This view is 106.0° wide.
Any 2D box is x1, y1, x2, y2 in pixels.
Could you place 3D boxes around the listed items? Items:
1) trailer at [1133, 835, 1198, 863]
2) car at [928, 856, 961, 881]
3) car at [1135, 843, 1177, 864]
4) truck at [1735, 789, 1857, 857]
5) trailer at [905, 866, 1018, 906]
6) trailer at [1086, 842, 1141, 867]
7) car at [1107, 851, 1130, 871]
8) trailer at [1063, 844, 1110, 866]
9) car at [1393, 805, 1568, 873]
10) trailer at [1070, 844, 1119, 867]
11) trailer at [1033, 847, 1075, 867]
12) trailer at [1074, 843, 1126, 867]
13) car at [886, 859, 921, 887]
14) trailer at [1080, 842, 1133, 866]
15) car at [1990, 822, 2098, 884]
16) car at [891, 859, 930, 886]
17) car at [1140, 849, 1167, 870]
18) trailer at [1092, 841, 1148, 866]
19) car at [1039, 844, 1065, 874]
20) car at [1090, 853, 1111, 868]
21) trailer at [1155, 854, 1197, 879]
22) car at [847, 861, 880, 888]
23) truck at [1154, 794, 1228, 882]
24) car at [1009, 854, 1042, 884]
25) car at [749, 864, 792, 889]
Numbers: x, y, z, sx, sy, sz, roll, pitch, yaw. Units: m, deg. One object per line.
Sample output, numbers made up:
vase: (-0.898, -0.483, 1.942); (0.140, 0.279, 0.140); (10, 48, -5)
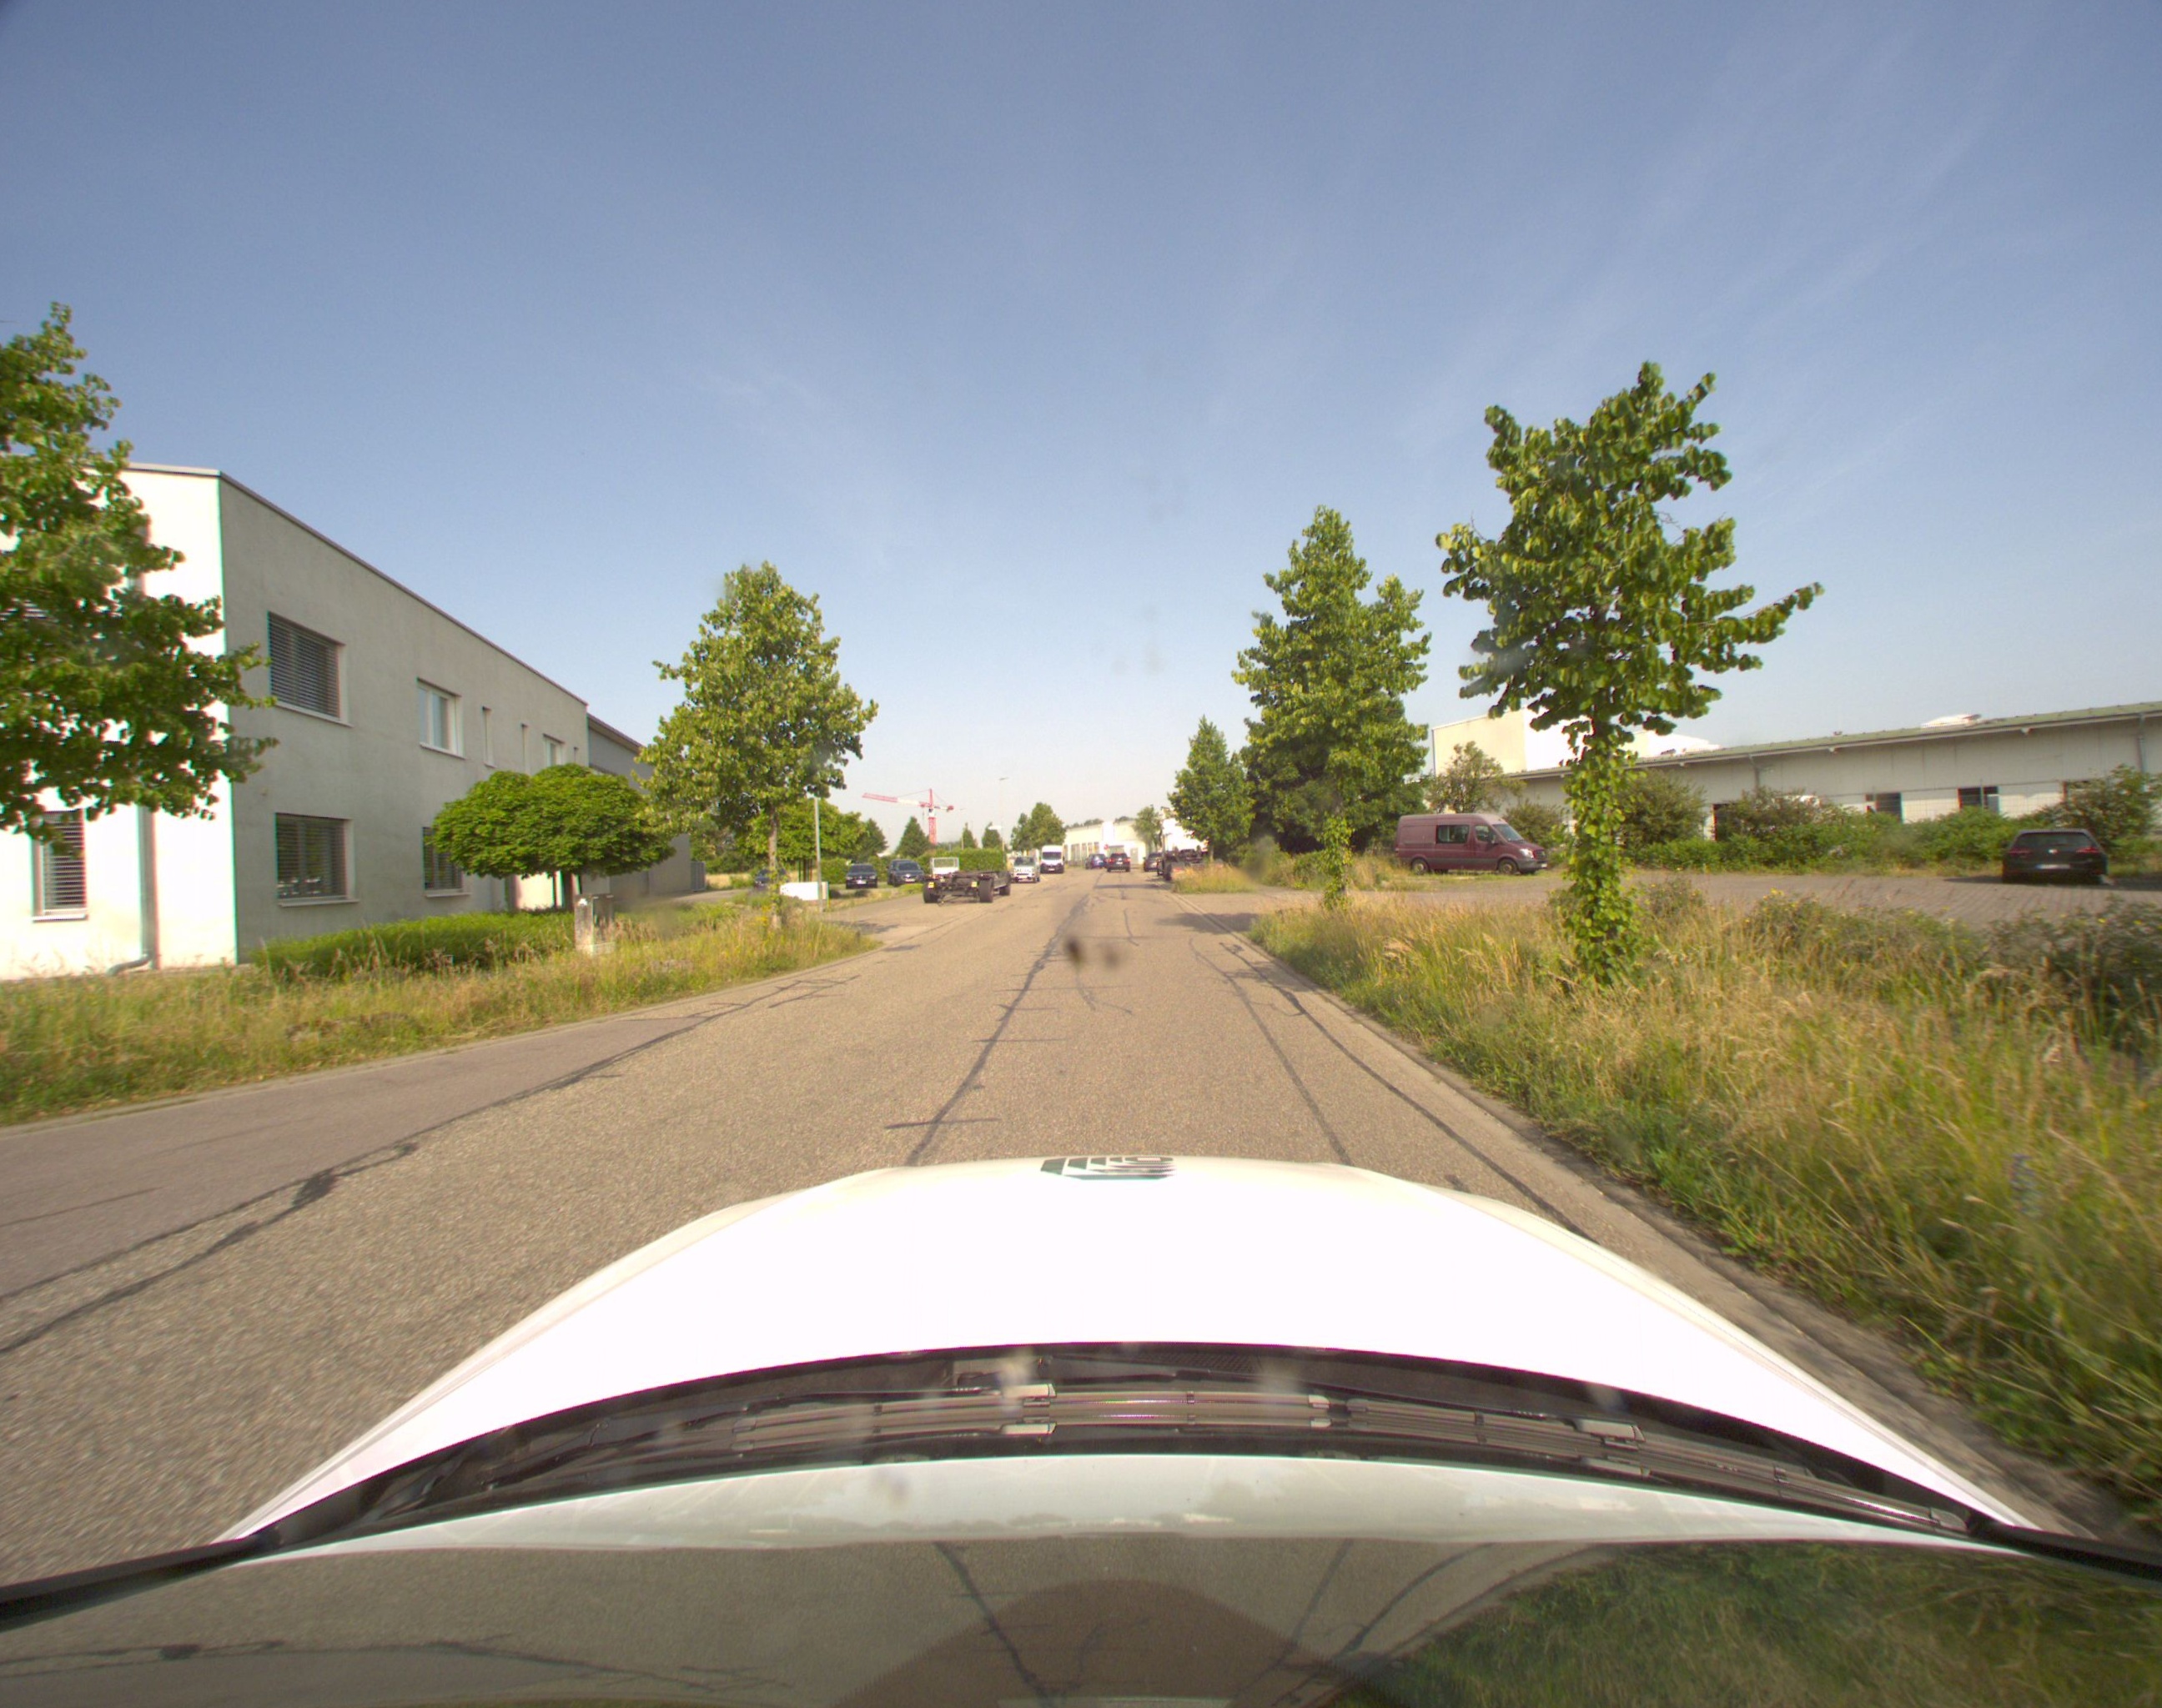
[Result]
trailer: (11.948, -0.691, 115.365); (8.765, 3.761, 2.770); (-1, -1, -22)
car: (-9.043, 0.954, 53.620); (1.836, 1.572, 3.797); (0, -1, -14)
car: (8.622, -0.053, 93.872); (4.594, 2.110, 2.128); (-2, -1, 0)
truck: (33.848, -1.353, 38.418); (8.803, 2.840, 2.758); (-1, -1, -39)
trailer: (-4.287, 1.132, 31.499); (2.536, 1.074, 9.737); (-1, 0, 2)
trailer: (5.206, 0.097, 132.069); (8.569, 3.894, 2.756); (0, -1, -22)
car: (3.209, 0.621, 70.236); (1.873, 1.586, 4.115); (-2, -1, 2)
trailer: (0.951, 0.195, 144.276); (7.993, 3.894, 2.756); (0, -1, -22)
car: (16.345, -0.544, 33.664); (2.587, 2.525, 5.978); (0, -1, -39)
trailer: (2.360, 0.288, 141.648); (8.064, 3.894, 2.756); (0, -1, -22)
trailer: (-5.386, 0.604, 162.154); (7.993, 3.894, 2.756); (0, -1, -22)
trailer: (3.232, 0.148, 137.766); (8.339, 3.894, 2.756); (0, -1, -22)
car: (-11.619, 1.195, 53.123); (1.993, 1.658, 4.399); (-2, 0, -15)
trailer: (4.207, 0.004, 134.882); (8.339, 3.894, 2.756); (0, -1, -22)
car: (25.767, -0.057, 21.792); (3.750, 1.471, 1.739); (-3, 1, -39)
car: (-10.155, 1.063, 48.276); (1.979, 1.476, 4.399); (-2, 0, -15)
car: (5.829, 0.447, 65.649); (1.873, 1.574, 4.115); (-4, -1, 2)
trailer: (6.211, -0.066, 129.091); (8.569, 3.894, 2.756); (0, -1, -22)
car: (-2.598, 0.454, 74.389); (2.096, 2.595, 6.501); (0, 0, -1)
car: (2.037, 0.714, 87.307); (1.964, 1.574, 4.110); (-2, -1, -2)
trailer: (5.658, 0.702, 49.522); (1.931, 1.235, 7.455); (-4, 0, 2)
car: (-12.769, 1.155, 47.619); (1.683, 1.476, 4.325); (-2, 0, -17)
truck: (5.478, -0.768, 41.533); (2.683, 3.964, 6.048); (-5, 0, 0)
car: (-3.362, 0.894, 49.744); (1.591, 1.651, 3.646); (-2, 0, 2)
car: (-17.569, 1.235, 46.230); (1.994, 1.324, 4.325); (-2, 0, -17)
